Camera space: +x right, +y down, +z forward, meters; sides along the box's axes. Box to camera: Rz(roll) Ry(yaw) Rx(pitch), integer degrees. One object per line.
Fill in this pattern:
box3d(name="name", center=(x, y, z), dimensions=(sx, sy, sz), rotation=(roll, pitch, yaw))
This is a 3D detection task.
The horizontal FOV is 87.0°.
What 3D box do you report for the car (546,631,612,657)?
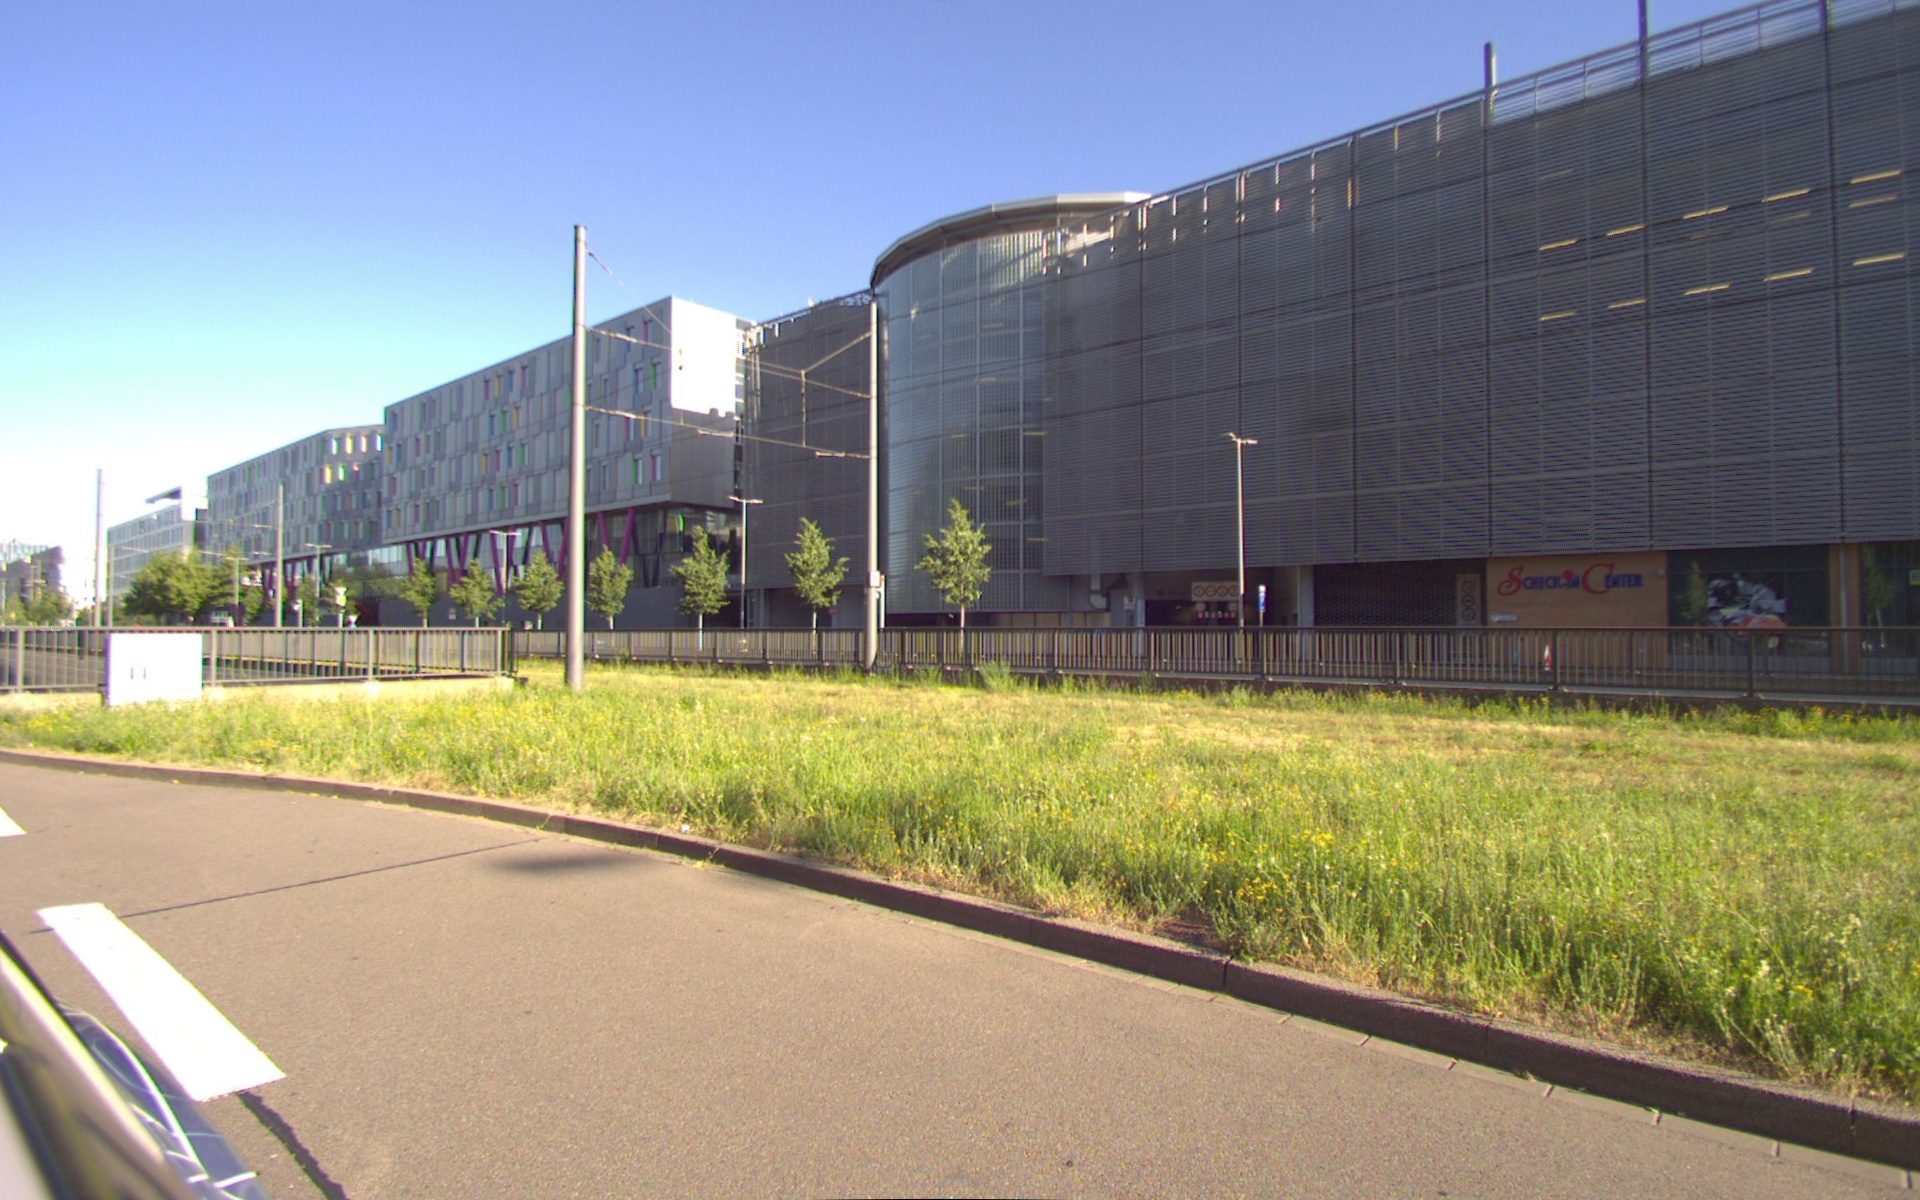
box3d(name="car", center=(-22.820, 2.621, 60.566), dimensions=(4.242, 1.512, 1.972), rotation=(-2, -2, 42))
